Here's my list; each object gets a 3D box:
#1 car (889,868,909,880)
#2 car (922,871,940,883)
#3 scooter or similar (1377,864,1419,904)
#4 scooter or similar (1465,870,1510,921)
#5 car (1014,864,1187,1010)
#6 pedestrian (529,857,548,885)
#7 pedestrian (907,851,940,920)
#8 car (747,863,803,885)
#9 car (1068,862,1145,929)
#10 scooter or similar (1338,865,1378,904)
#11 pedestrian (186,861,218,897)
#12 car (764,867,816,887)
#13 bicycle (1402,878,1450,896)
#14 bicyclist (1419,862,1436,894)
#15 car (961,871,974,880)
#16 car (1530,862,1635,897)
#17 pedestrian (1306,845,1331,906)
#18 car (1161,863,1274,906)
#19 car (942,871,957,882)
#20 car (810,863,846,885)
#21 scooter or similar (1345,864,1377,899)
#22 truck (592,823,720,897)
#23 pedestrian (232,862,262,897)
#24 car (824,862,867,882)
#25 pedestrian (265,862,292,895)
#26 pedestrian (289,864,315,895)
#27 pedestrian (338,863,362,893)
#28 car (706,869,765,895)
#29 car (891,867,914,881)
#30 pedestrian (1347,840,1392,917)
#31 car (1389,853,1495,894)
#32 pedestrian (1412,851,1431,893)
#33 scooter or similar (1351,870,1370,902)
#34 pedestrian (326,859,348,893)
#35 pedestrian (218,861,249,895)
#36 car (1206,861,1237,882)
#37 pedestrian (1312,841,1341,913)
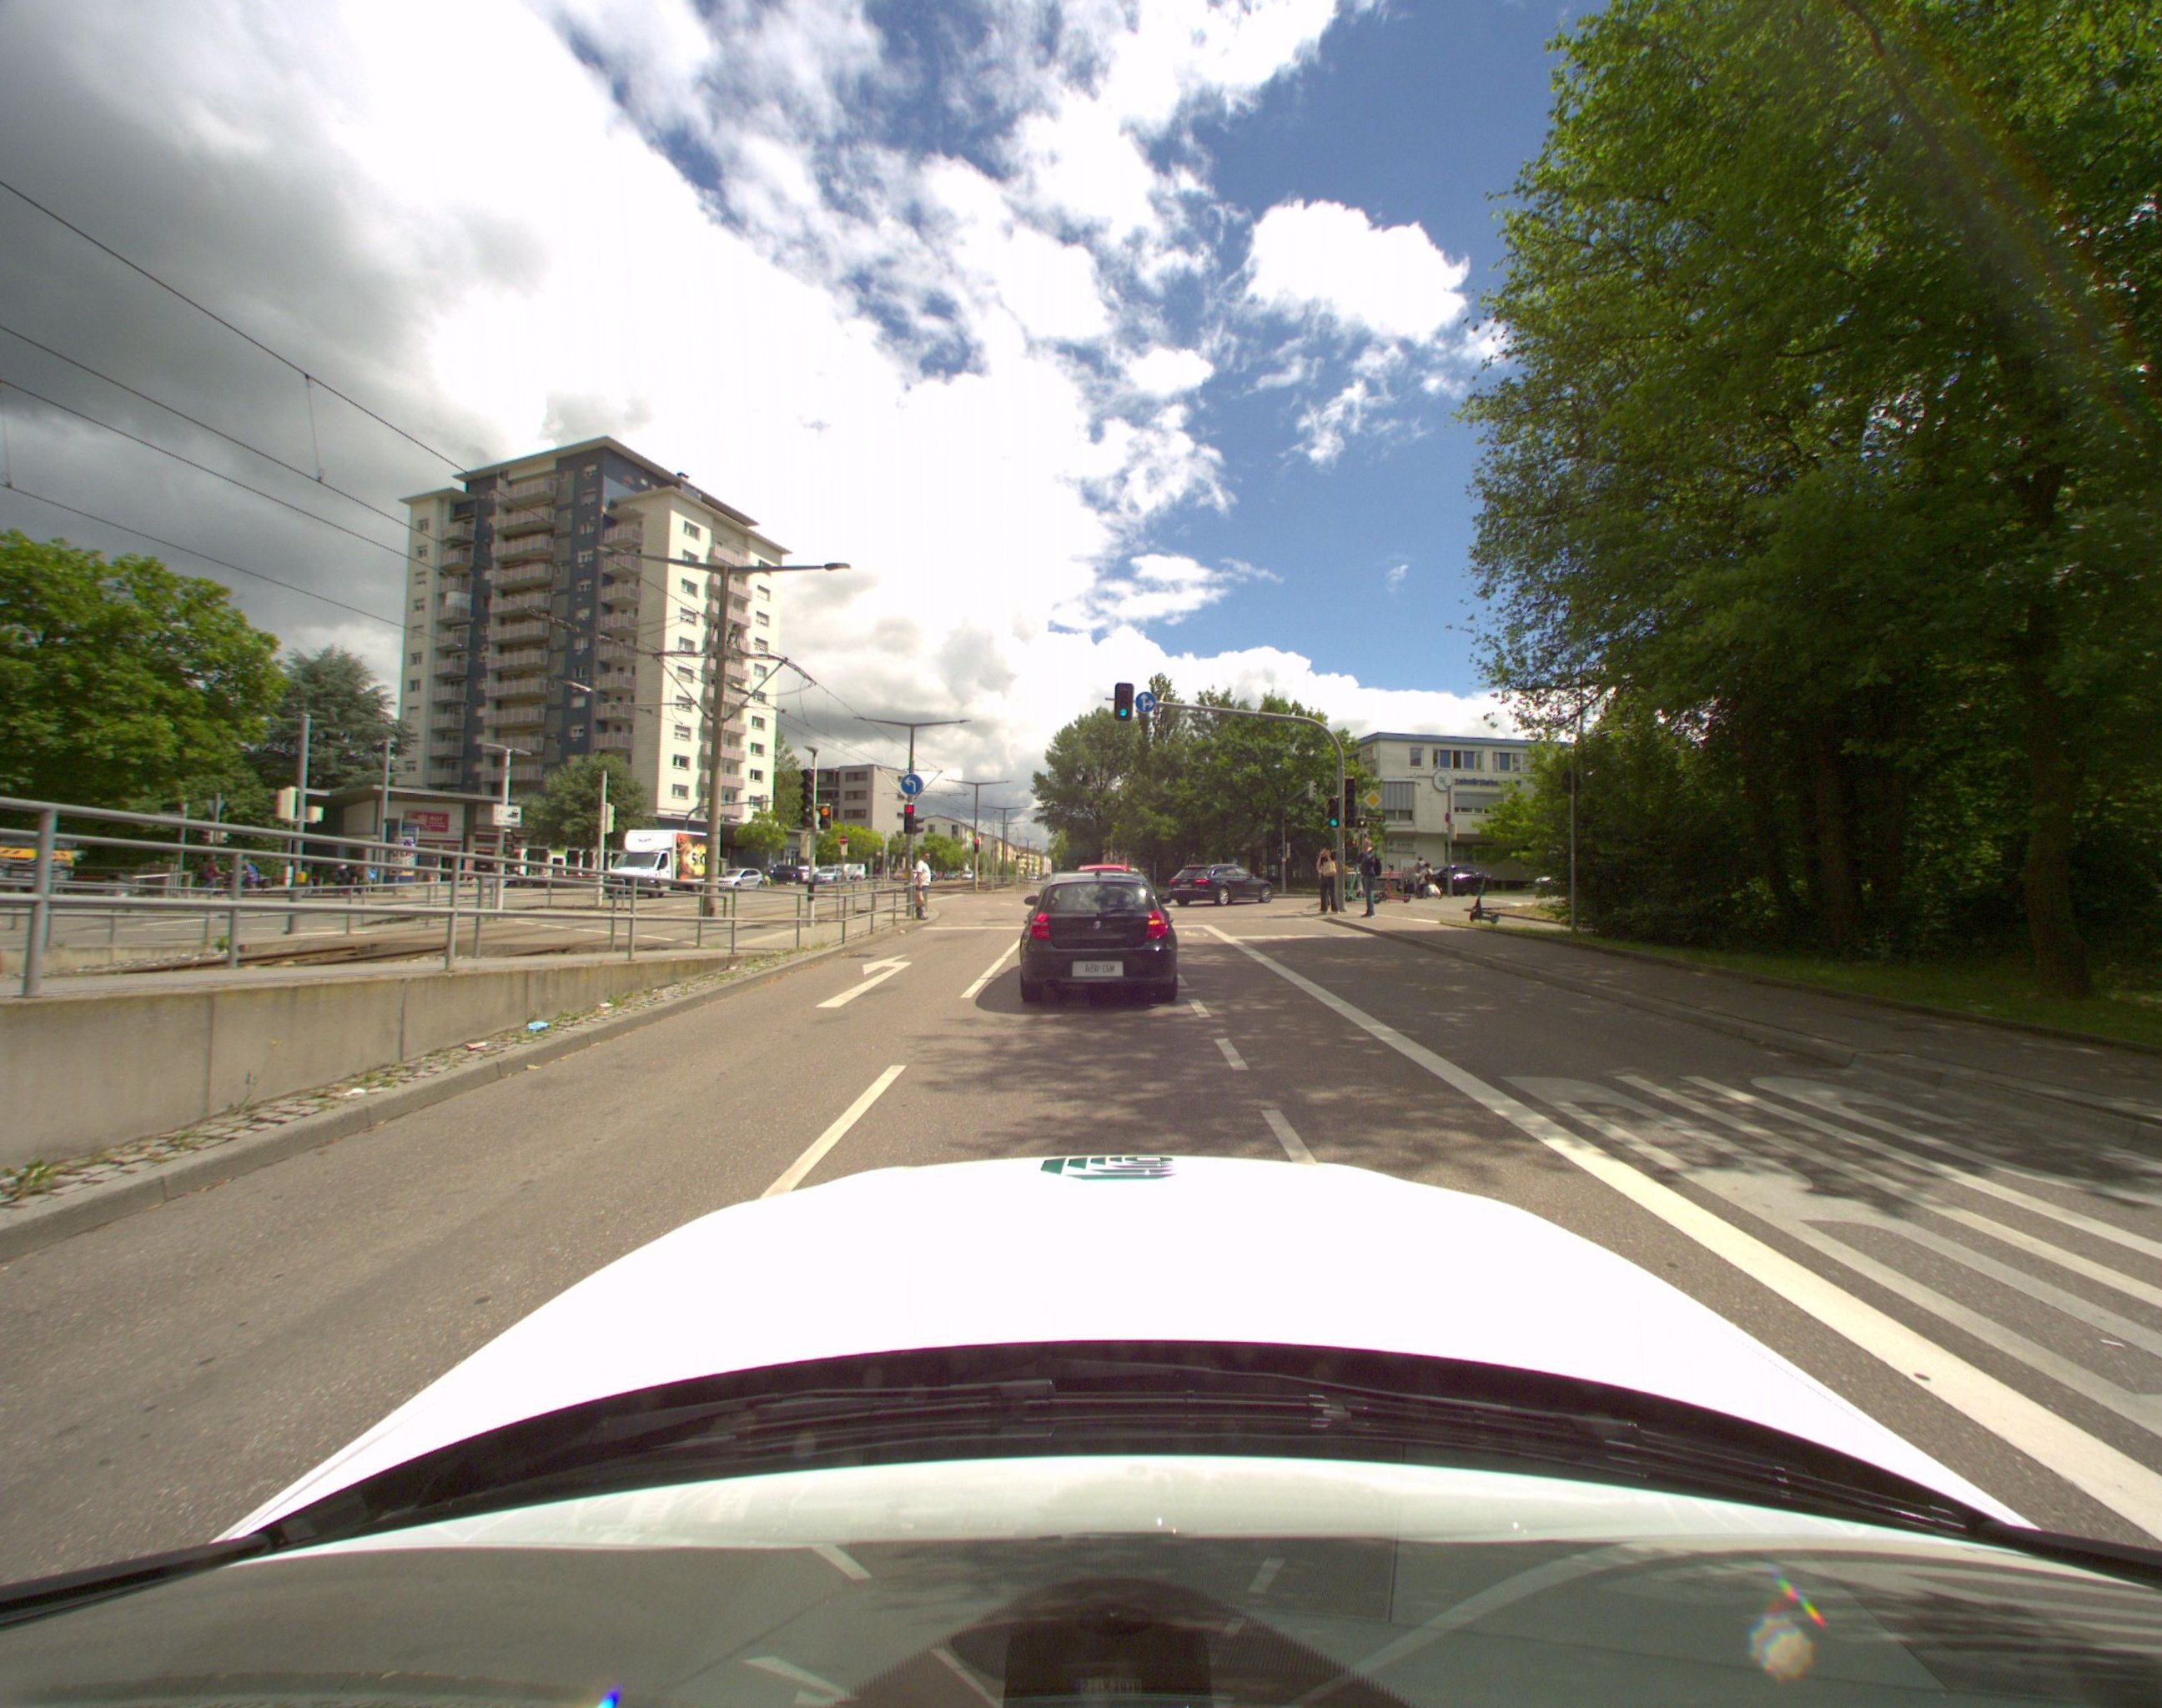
[{"bbox_3d":[-23.614,2.600,105.836,1.585,1.474,3.775,0,-1,1],"label":"car"},{"bbox_3d":[-20.212,3.044,109.857,1.645,1.534,3.871,0,-1,1],"label":"car"},{"bbox_3d":[10.346,0.959,26.589,1.145,1.272,0.556,1,-1,4],"label":"scooter or similar"},{"bbox_3d":[10.642,1.077,21.329,0.886,1.230,0.455,4,-1,2],"label":"scooter or similar"},{"bbox_3d":[0.257,0.839,9.714,1.693,1.400,3.422,0,0,2],"label":"car"},{"bbox_3d":[-39.007,1.192,58.580,0.851,2.014,0.852,-1,-1,30],"label":"pedestrian"},{"bbox_3d":[-4.032,0.810,20.898,0.685,1.734,0.688,-1,-1,2],"label":"pedestrian"},{"bbox_3d":[-24.804,1.578,66.075,4.013,1.687,1.561,0,-1,-31],"label":"car"},{"bbox_3d":[0.606,0.896,19.053,1.632,1.400,3.422,0,0,2],"label":"car"},{"bbox_3d":[8.758,0.962,25.753,1.104,1.235,0.540,0,-1,4],"label":"scooter or similar"},{"bbox_3d":[-34.675,0.973,32.120,0.474,1.375,0.677,0,-1,1],"label":"pedestrian"},{"bbox_3d":[-25.537,1.989,71.580,3.946,1.647,1.636,0,-1,-44],"label":"car"},{"bbox_3d":[12.680,1.202,29.982,0.537,0.610,1.573,0,-1,-37],"label":"bicycle"},{"bbox_3d":[12.724,0.859,29.912,0.505,1.157,0.395,0,-1,-39],"label":"bicyclist"},{"bbox_3d":[-19.701,3.726,141.947,1.645,1.534,3.871,0,-1,1],"label":"car"},{"bbox_3d":[25.829,1.291,42.012,4.367,1.764,1.995,0,-1,-7],"label":"car"},{"bbox_3d":[6.866,0.616,23.571,0.632,1.766,0.519,0,-1,8],"label":"pedestrian"},{"bbox_3d":[4.976,1.033,29.254,1.882,1.422,4.566,-1,-1,42],"label":"car"},{"bbox_3d":[-20.522,3.523,127.554,1.645,1.534,3.871,0,-1,1],"label":"car"},{"bbox_3d":[-20.098,1.564,64.907,1.585,1.756,3.775,0,-1,1],"label":"car"},{"bbox_3d":[9.489,0.931,27.597,0.938,1.157,0.459,0,-1,4],"label":"scooter or similar"},{"bbox_3d":[-19.658,0.302,38.224,2.275,3.118,7.313,0,-1,-2],"label":"truck"},{"bbox_3d":[-35.485,1.074,34.663,0.557,1.468,0.663,0,-1,-5],"label":"pedestrian"},{"bbox_3d":[-23.988,1.861,83.076,3.944,1.975,1.637,0,-1,-40],"label":"car"},{"bbox_3d":[-35.768,1.078,36.306,0.557,1.480,0.662,0,-1,-6],"label":"pedestrian"},{"bbox_3d":[-35.788,1.152,37.436,0.557,1.417,0.663,0,-1,-5],"label":"pedestrian"},{"bbox_3d":[-35.528,1.160,39.609,0.557,1.417,0.663,0,-1,-5],"label":"pedestrian"},{"bbox_3d":[-21.200,1.694,50.146,1.397,1.461,3.787,0,-1,13],"label":"car"},{"bbox_3d":[-20.173,2.189,92.046,1.645,1.534,3.871,0,-1,1],"label":"car"},{"bbox_3d":[7.244,0.600,20.514,0.792,1.876,1.014,0,-1,2],"label":"pedestrian"},{"bbox_3d":[18.134,0.979,41.006,4.528,2.014,1.996,0,-1,-6],"label":"car"},{"bbox_3d":[13.871,0.735,33.183,0.651,1.713,0.464,-1,-1,28],"label":"pedestrian"},{"bbox_3d":[9.521,1.075,27.744,0.543,1.064,1.267,0,0,16],"label":"scooter or similar"},{"bbox_3d":[-37.289,1.097,40.811,0.365,1.670,0.718,0,-1,5],"label":"pedestrian"},{"bbox_3d":[-34.613,0.965,33.262,0.537,1.375,0.677,0,-1,1],"label":"pedestrian"},{"bbox_3d":[12.479,1.537,72.570,1.724,1.871,3.990,0,-1,-7],"label":"car"},{"bbox_3d":[6.499,0.610,21.574,0.632,1.876,0.519,0,-1,8],"label":"pedestrian"}]
